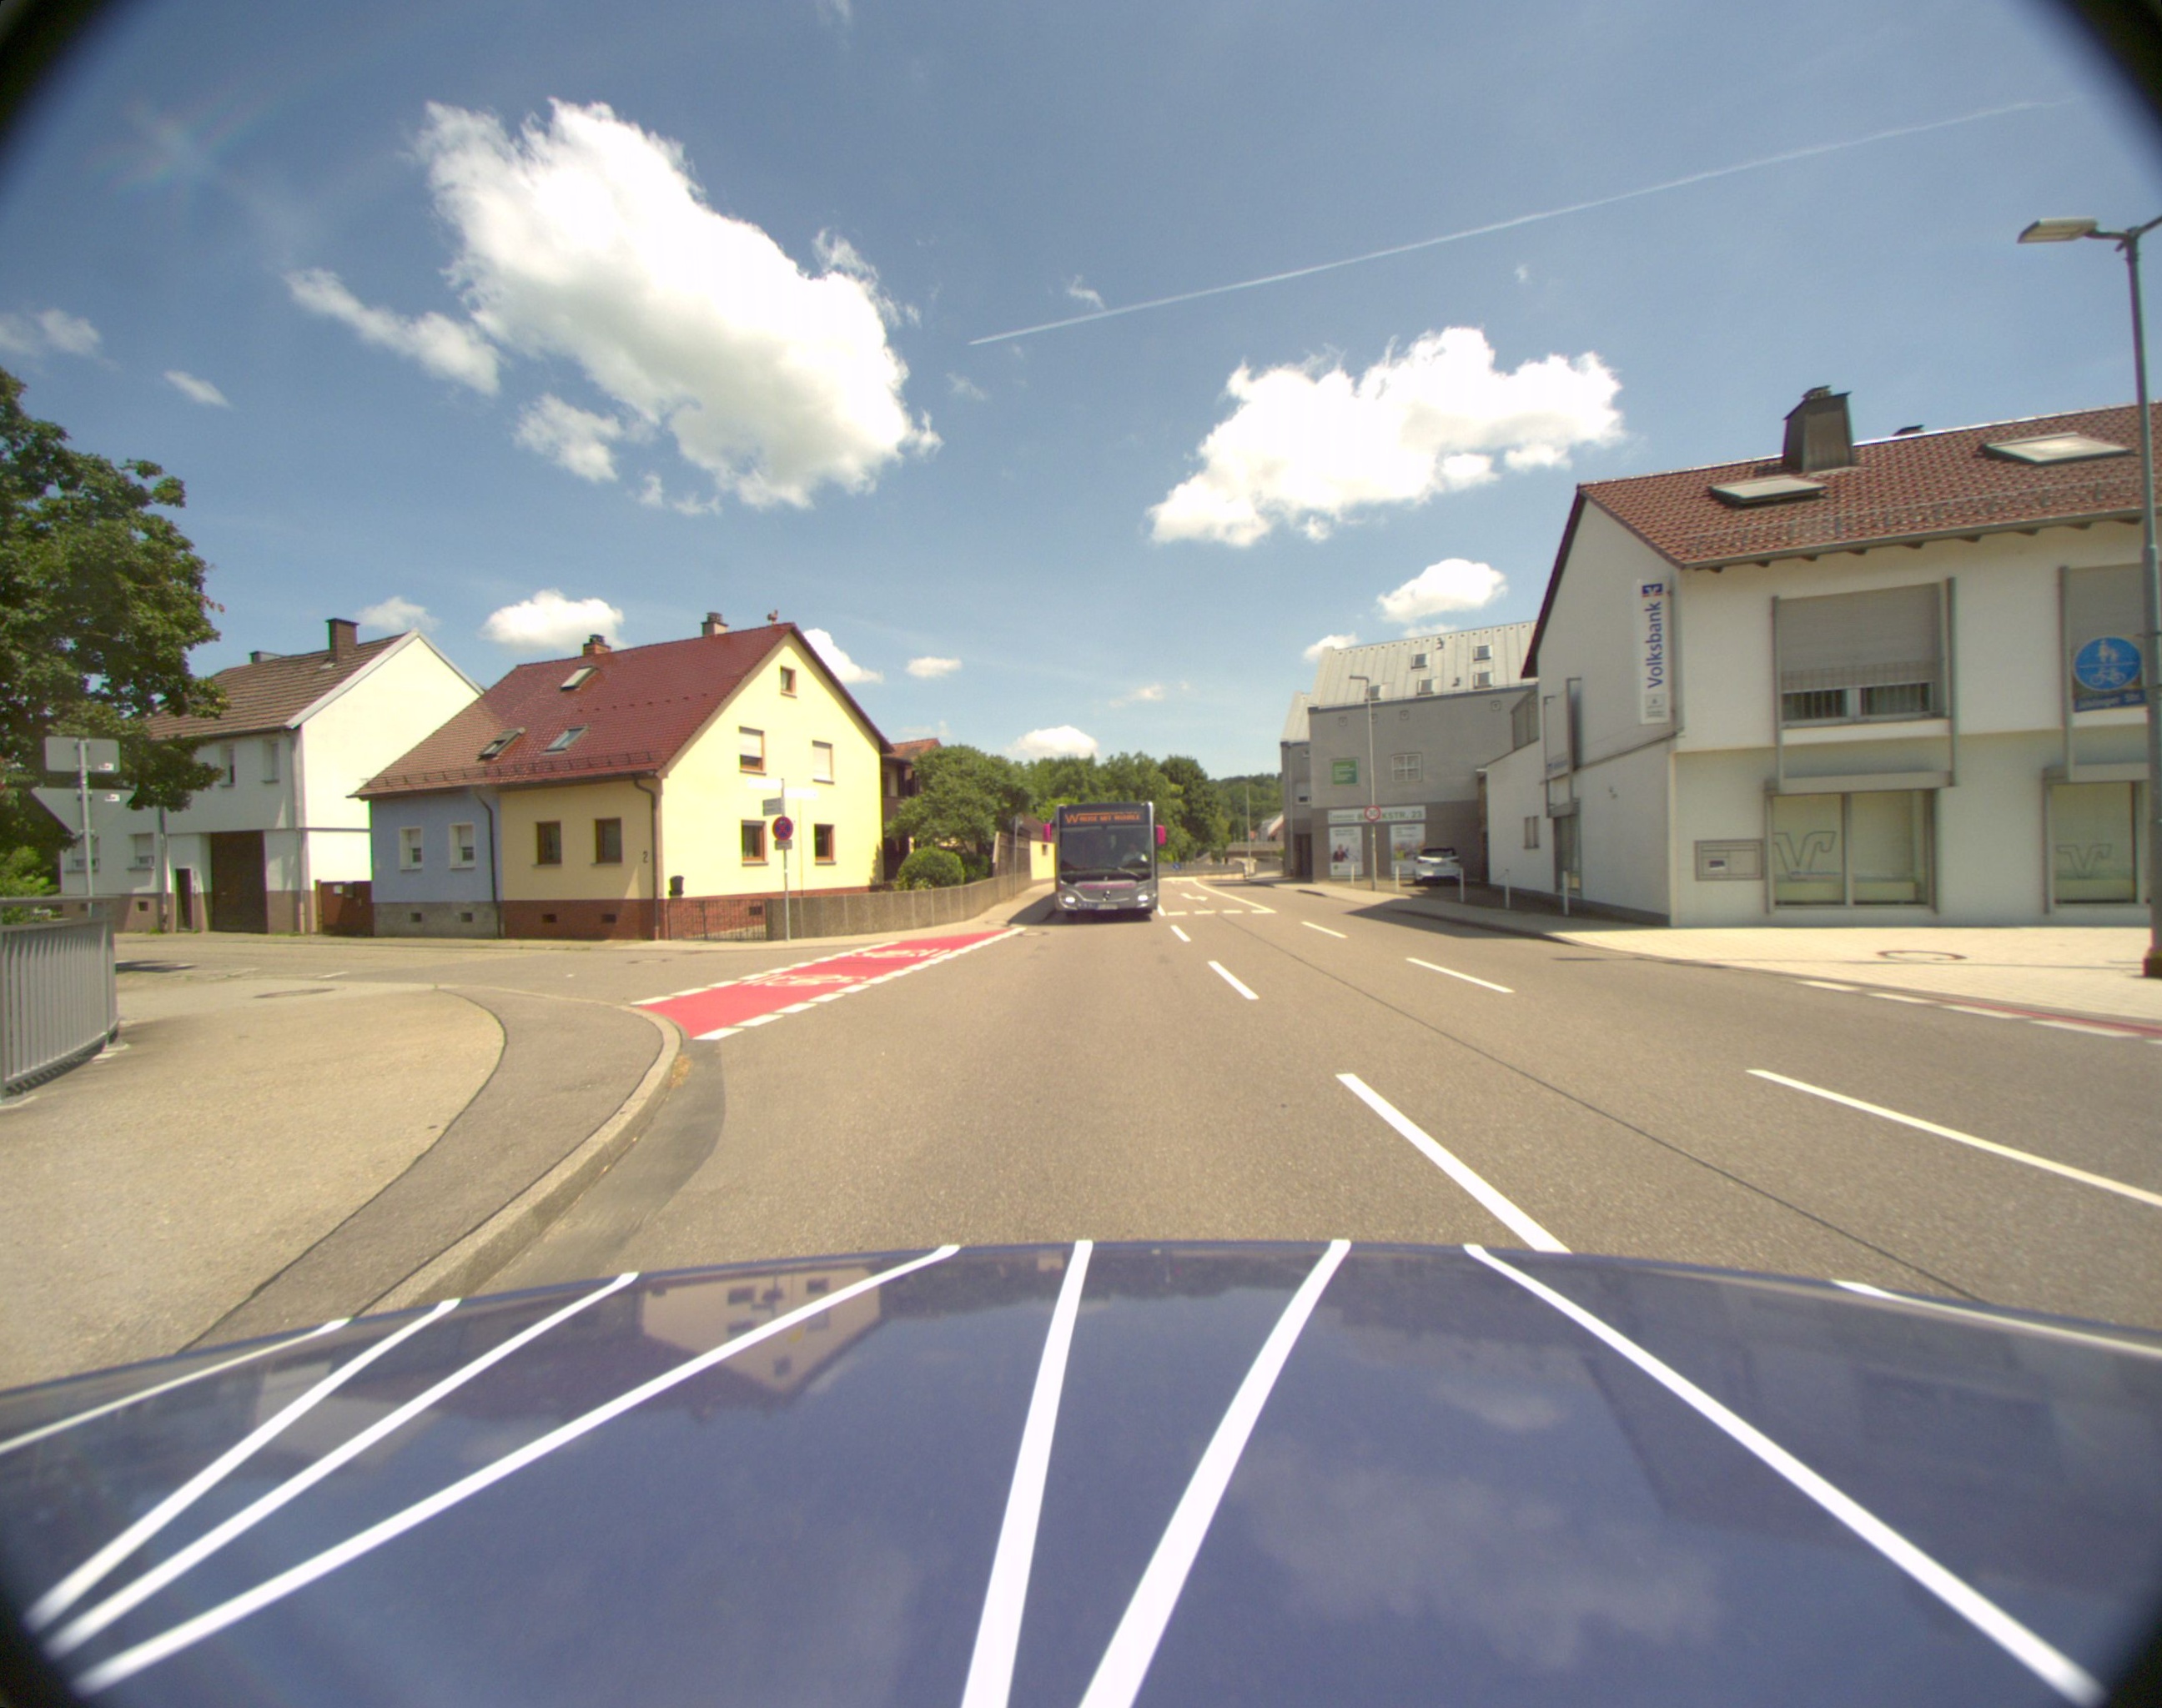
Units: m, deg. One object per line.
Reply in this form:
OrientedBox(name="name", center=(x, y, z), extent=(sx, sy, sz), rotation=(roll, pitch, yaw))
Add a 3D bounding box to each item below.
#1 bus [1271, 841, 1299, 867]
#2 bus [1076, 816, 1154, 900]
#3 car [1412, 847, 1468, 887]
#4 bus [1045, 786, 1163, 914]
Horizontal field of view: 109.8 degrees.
OrientedBox(name="bus", center=(34.612, 0.108, 128.485), extent=(2.813, 3.977, 10.988), rotation=(-2, -2, 24))
OrientedBox(name="bus", center=(1.496, 0.274, 31.688), extent=(2.755, 2.949, 9.286), rotation=(0, -2, 3))
OrientedBox(name="car", center=(15.030, 0.526, 31.981), extent=(1.995, 1.565, 4.260), rotation=(-1, 0, 24))
OrientedBox(name="bus", center=(0.863, 0.043, 22.329), extent=(2.754, 2.949, 9.286), rotation=(0, -2, 4))
